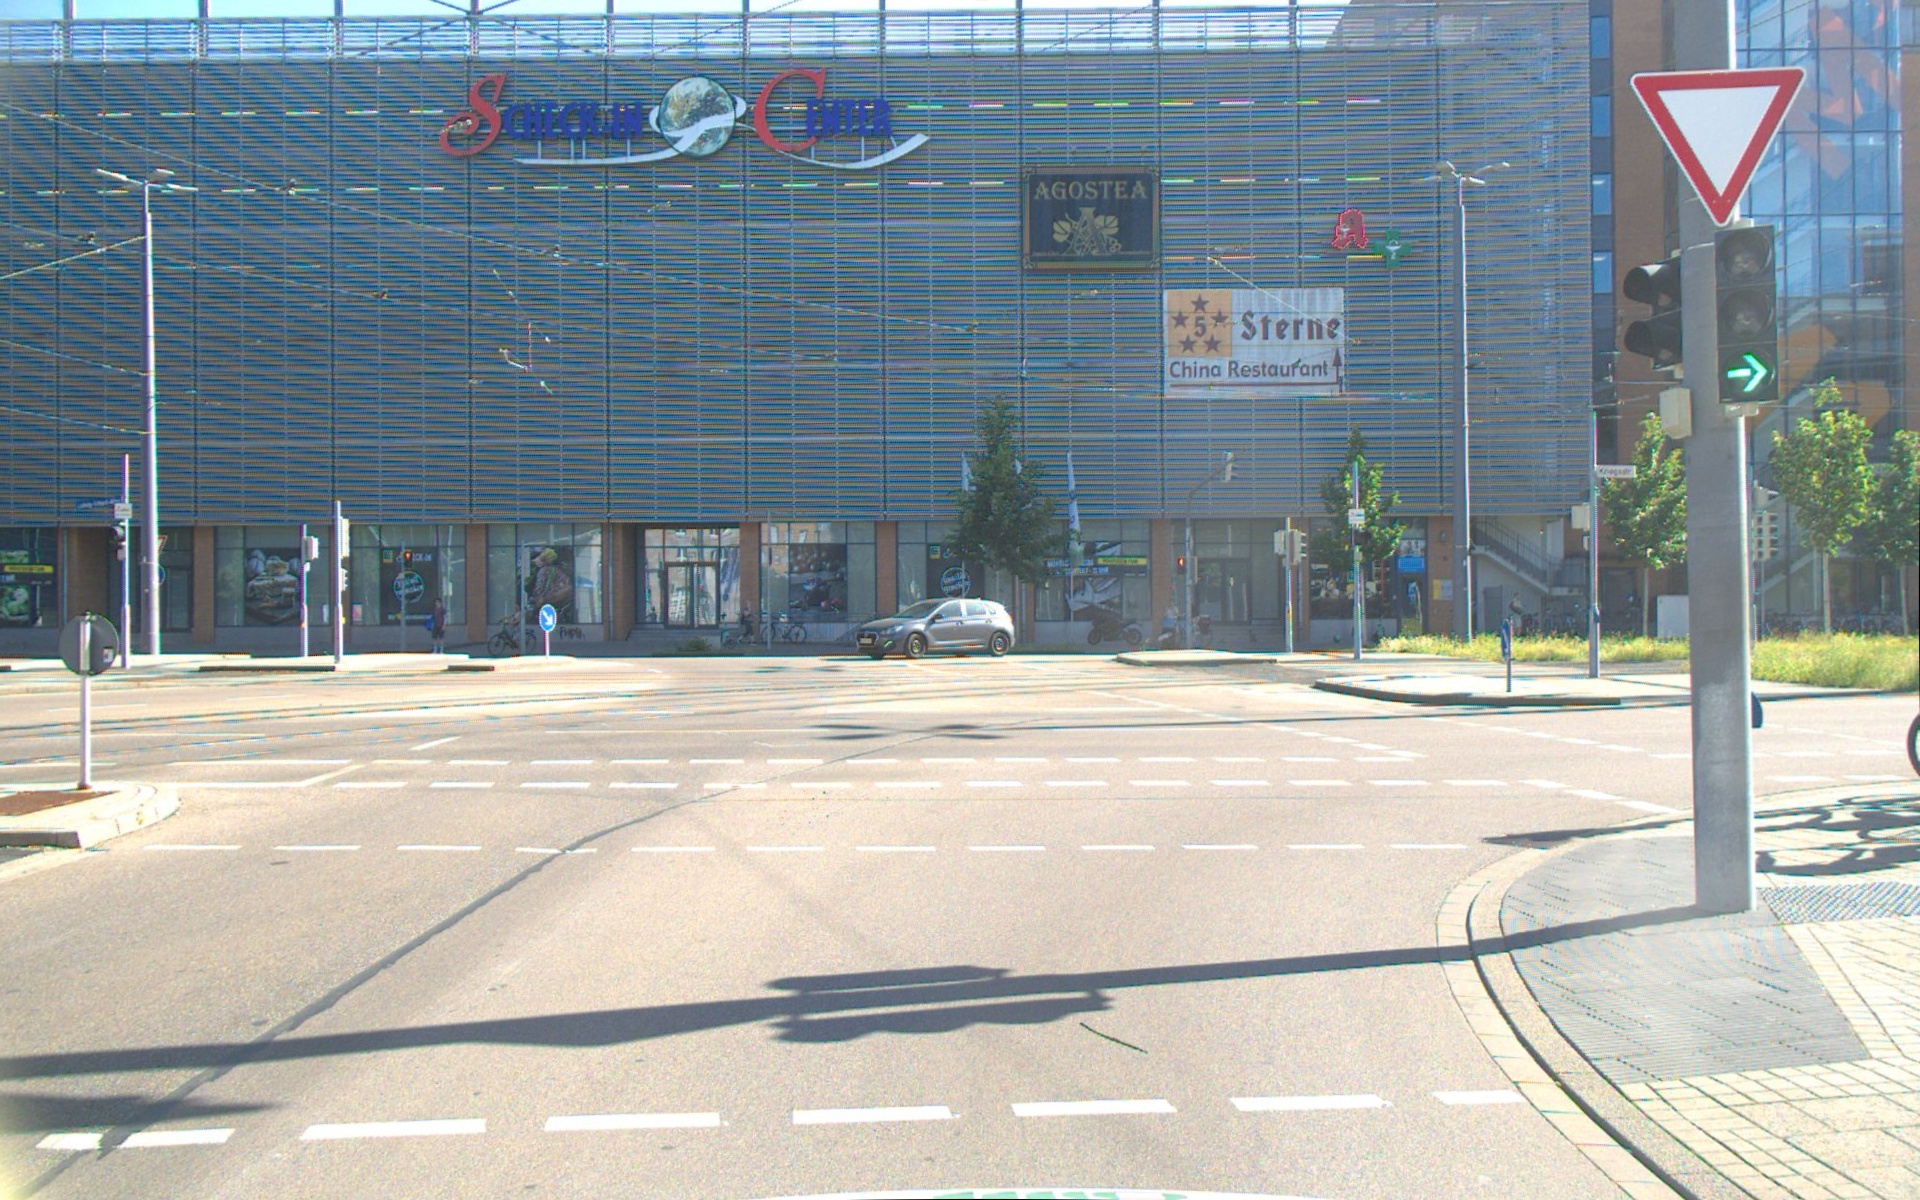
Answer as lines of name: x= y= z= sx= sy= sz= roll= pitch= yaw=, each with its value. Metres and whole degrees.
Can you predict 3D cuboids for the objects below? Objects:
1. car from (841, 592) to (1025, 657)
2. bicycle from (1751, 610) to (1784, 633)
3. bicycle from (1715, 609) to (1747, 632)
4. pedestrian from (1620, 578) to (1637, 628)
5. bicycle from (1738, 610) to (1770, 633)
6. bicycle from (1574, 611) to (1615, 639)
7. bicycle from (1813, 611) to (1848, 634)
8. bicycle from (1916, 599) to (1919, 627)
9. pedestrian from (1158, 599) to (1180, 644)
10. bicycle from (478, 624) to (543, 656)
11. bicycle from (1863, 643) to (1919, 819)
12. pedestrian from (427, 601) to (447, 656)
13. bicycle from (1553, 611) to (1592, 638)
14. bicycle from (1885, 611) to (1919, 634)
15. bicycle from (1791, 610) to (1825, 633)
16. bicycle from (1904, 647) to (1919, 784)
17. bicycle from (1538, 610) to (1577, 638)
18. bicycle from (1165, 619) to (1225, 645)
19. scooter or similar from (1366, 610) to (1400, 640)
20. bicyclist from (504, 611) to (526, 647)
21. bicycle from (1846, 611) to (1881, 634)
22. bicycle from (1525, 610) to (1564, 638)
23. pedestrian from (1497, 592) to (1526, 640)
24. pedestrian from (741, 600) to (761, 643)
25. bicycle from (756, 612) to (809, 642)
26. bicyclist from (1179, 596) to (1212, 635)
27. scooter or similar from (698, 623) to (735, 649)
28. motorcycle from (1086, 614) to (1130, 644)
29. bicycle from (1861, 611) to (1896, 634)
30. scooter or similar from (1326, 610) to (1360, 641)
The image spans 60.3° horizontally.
car: x=-0.650 y=0.585 z=41.200 sx=4.263 sy=1.526 sz=1.974 roll=0 pitch=-1 yaw=-37
bicycle: x=30.797 y=0.821 z=63.090 sx=0.435 sy=0.833 sz=1.449 roll=0 pitch=1 yaw=-6
bicycle: x=29.279 y=0.778 z=62.835 sx=0.435 sy=0.833 sz=1.449 roll=0 pitch=1 yaw=-6
pedestrian: x=26.038 y=0.106 z=64.420 sx=0.528 sy=1.948 sz=0.374 roll=1 pitch=-1 yaw=7
bicycle: x=30.247 y=0.820 z=63.014 sx=0.435 sy=0.833 sz=1.449 roll=0 pitch=1 yaw=-6
bicycle: x=23.558 y=0.933 z=61.461 sx=0.482 sy=0.971 sz=2.178 roll=0 pitch=1 yaw=-6
bicycle: x=33.018 y=0.835 z=62.744 sx=0.435 sy=0.833 sz=1.449 roll=0 pitch=1 yaw=-6
bicycle: x=39.398 y=0.535 z=66.315 sx=0.736 sy=1.143 sz=2.177 roll=0 pitch=1 yaw=-6
pedestrian: x=7.023 y=0.727 z=55.625 sx=0.723 sy=1.513 sz=0.490 roll=0 pitch=-1 yaw=9
bicycle: x=-14.776 y=1.318 z=54.385 sx=1.997 sy=1.003 sz=0.553 roll=0 pitch=-1 yaw=-34
bicycle: x=6.513 y=0.829 z=10.240 sx=0.680 sy=1.124 sz=2.011 roll=-1 pitch=-2 yaw=-1
pedestrian: x=-17.292 y=0.934 z=54.648 sx=0.614 sy=1.782 sz=0.586 roll=0 pitch=-1 yaw=-19
bicycle: x=22.838 y=0.909 z=61.701 sx=0.482 sy=0.971 sz=2.178 roll=0 pitch=1 yaw=-6
bicycle: x=35.883 y=0.852 z=62.926 sx=0.435 sy=0.833 sz=1.449 roll=0 pitch=1 yaw=-6
bicycle: x=32.188 y=0.827 z=62.771 sx=0.435 sy=0.833 sz=1.449 roll=0 pitch=1 yaw=-6
bicycle: x=7.818 y=0.869 z=12.068 sx=0.593 sy=1.056 sz=1.893 roll=-1 pitch=-2 yaw=-6
bicycle: x=22.253 y=0.899 z=61.602 sx=0.482 sy=0.971 sz=2.178 roll=0 pitch=1 yaw=-6
bicycle: x=8.270 y=1.125 z=58.260 sx=2.000 sy=0.882 sz=0.682 roll=0 pitch=0 yaw=-2
scooter or similar: x=15.865 y=0.938 z=62.008 sx=1.177 sy=1.122 sz=0.277 roll=1 pitch=-1 yaw=1
bicyclist: x=-14.659 y=0.954 z=54.474 sx=0.556 sy=1.159 sz=0.553 roll=0 pitch=-1 yaw=-34
bicycle: x=34.322 y=0.858 z=62.819 sx=0.435 sy=0.833 sz=1.449 roll=0 pitch=1 yaw=-6
bicycle: x=21.688 y=0.887 z=61.389 sx=0.482 sy=0.971 sz=2.178 roll=0 pitch=1 yaw=-6
pedestrian: x=19.806 y=0.565 z=59.386 sx=0.763 sy=1.714 sz=0.595 roll=0 pitch=-1 yaw=-14
pedestrian: x=-7.523 y=0.770 z=59.461 sx=0.633 sy=1.545 sz=0.491 roll=0 pitch=-1 yaw=4
bicycle: x=-6.476 y=0.980 z=60.374 sx=1.907 sy=1.056 sz=0.572 roll=0 pitch=-1 yaw=-5
bicyclist: x=8.292 y=0.543 z=58.271 sx=1.015 sy=1.341 sz=0.682 roll=0 pitch=-1 yaw=-2
scooter or similar: x=-8.276 y=1.227 z=56.171 sx=1.198 sy=0.866 sz=0.301 roll=0 pitch=-1 yaw=-4
motorcycle: x=5.422 y=1.065 z=60.585 sx=1.581 sy=1.056 sz=0.402 roll=0 pitch=-1 yaw=0
bicycle: x=34.908 y=0.856 z=62.869 sx=0.435 sy=0.833 sz=1.449 roll=0 pitch=1 yaw=-6
scooter or similar: x=14.326 y=0.949 z=61.857 sx=1.177 sy=1.122 sz=0.277 roll=1 pitch=-1 yaw=1
